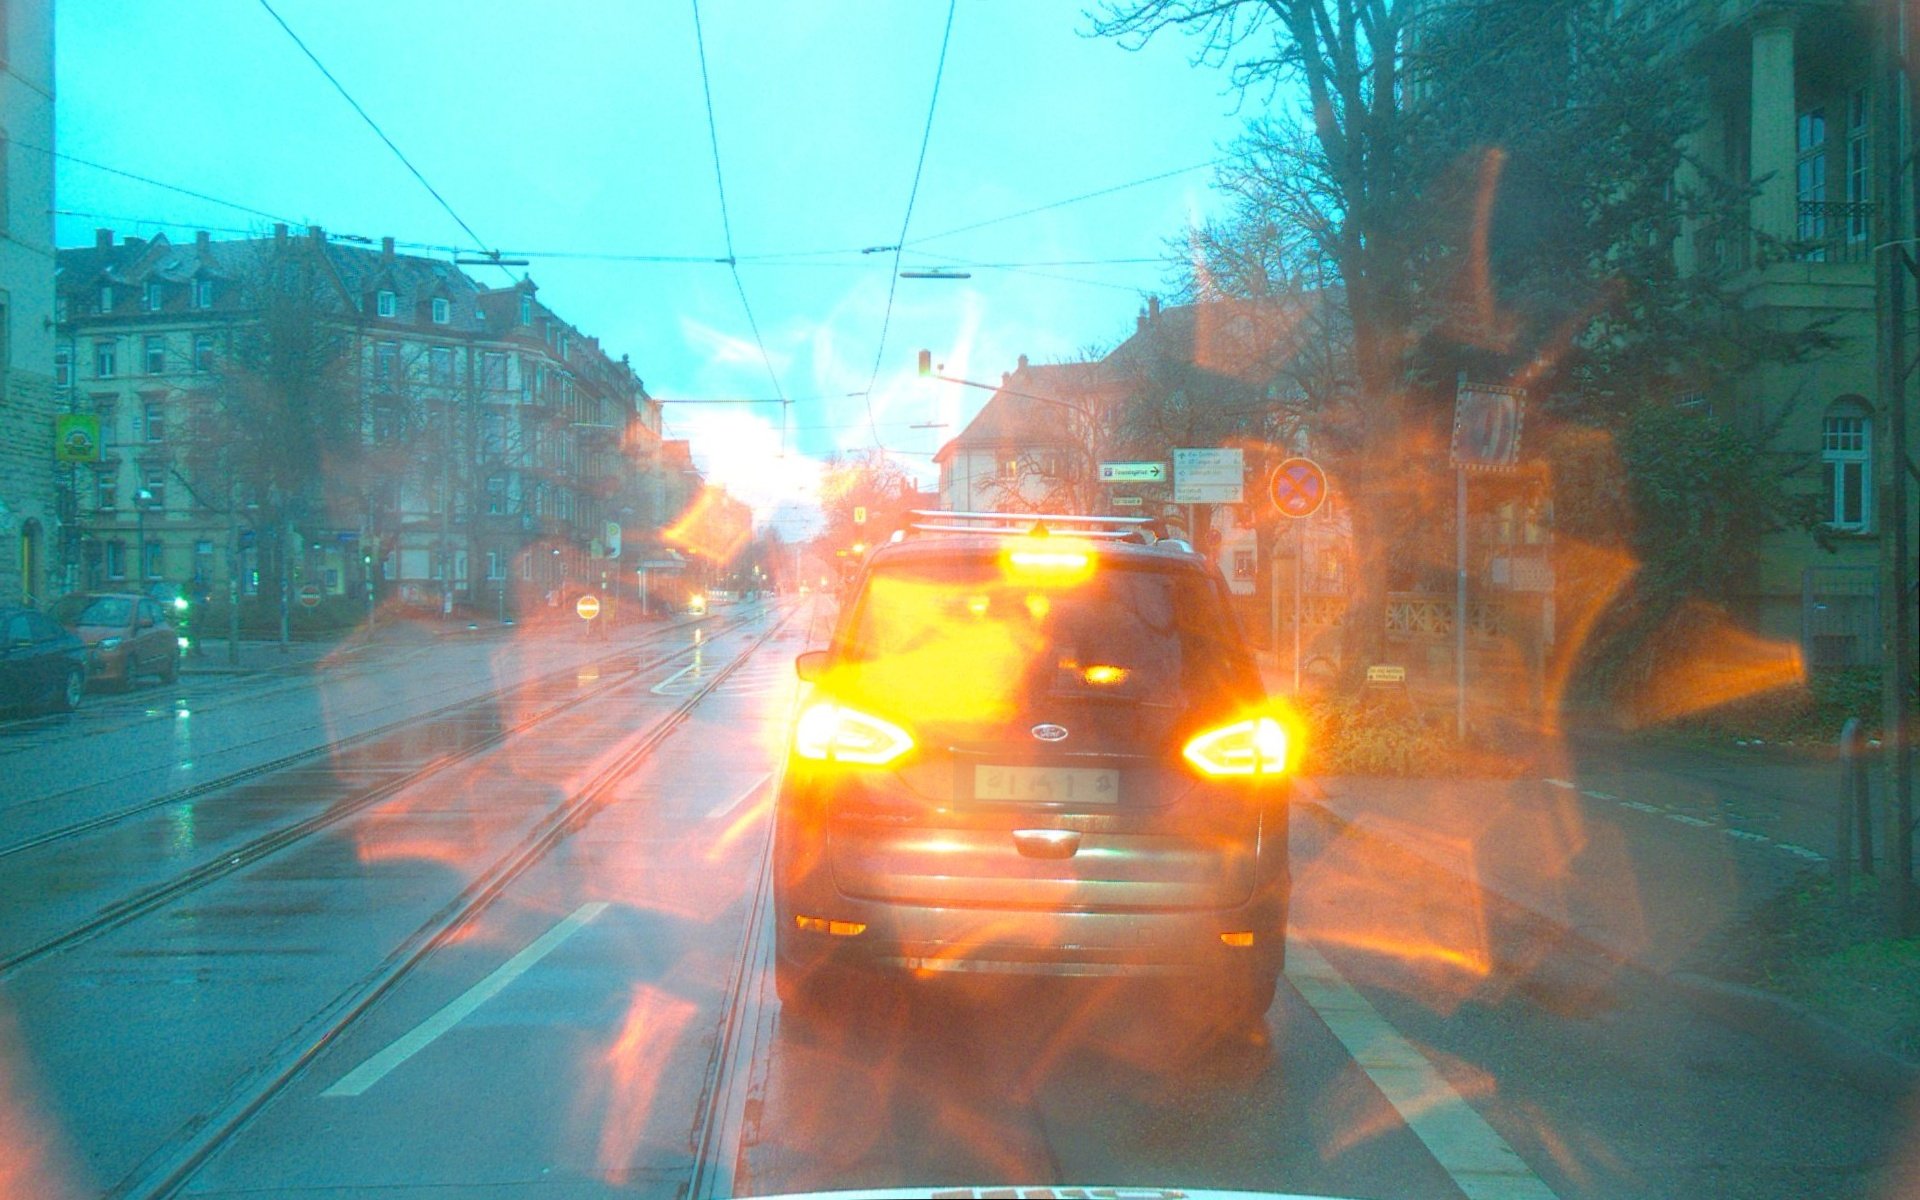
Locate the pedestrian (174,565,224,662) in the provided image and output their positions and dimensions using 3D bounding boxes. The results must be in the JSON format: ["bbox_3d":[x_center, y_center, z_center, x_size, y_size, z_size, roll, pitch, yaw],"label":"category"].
[{"bbox_3d":[-16.205,0.282,35.213,0.742,2.049,0.646,0,-1,32],"label":"pedestrian"}]

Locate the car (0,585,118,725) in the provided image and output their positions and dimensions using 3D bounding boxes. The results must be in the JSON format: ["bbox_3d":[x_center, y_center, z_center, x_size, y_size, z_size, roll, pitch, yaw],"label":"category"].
[{"bbox_3d":[-13.131,0.666,21.867,1.949,1.674,4.624,5,-1,-7],"label":"car"}]

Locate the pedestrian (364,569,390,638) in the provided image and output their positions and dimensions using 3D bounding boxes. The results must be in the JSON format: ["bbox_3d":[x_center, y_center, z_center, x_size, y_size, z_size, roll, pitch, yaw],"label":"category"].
[{"bbox_3d":[-17.534,0.110,49.733,0.695,2.049,0.656,0,0,-24],"label":"pedestrian"}]

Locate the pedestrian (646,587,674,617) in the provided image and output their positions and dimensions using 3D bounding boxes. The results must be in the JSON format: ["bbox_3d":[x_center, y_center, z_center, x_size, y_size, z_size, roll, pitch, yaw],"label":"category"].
[{"bbox_3d":[-12.309,0.098,67.875,1.027,1.221,0.884,1,0,-4],"label":"pedestrian"}]

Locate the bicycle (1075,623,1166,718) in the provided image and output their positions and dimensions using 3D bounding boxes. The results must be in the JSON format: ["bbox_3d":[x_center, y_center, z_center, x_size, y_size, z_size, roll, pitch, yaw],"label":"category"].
[{"bbox_3d":[2.135,0.918,22.212,0.703,1.131,1.938,4,0,-9],"label":"bicycle"}]

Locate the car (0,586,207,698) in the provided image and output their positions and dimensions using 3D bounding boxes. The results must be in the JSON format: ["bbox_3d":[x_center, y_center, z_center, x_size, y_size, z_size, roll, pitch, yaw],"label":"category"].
[{"bbox_3d":[-14.273,0.642,27.644,2.000,1.578,4.023,4,0,-9],"label":"car"}]

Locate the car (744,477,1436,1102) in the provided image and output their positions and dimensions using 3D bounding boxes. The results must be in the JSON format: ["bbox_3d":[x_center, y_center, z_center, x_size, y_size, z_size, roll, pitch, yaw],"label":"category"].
[{"bbox_3d":[0.311,0.566,7.346,2.061,1.848,4.658,2,0,-2],"label":"car"}]

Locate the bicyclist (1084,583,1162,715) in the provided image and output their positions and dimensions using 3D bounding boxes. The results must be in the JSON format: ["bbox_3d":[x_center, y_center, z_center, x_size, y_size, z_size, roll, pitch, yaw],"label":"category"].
[{"bbox_3d":[2.166,0.636,22.101,0.703,1.691,1.054,4,0,-9],"label":"bicyclist"}]
